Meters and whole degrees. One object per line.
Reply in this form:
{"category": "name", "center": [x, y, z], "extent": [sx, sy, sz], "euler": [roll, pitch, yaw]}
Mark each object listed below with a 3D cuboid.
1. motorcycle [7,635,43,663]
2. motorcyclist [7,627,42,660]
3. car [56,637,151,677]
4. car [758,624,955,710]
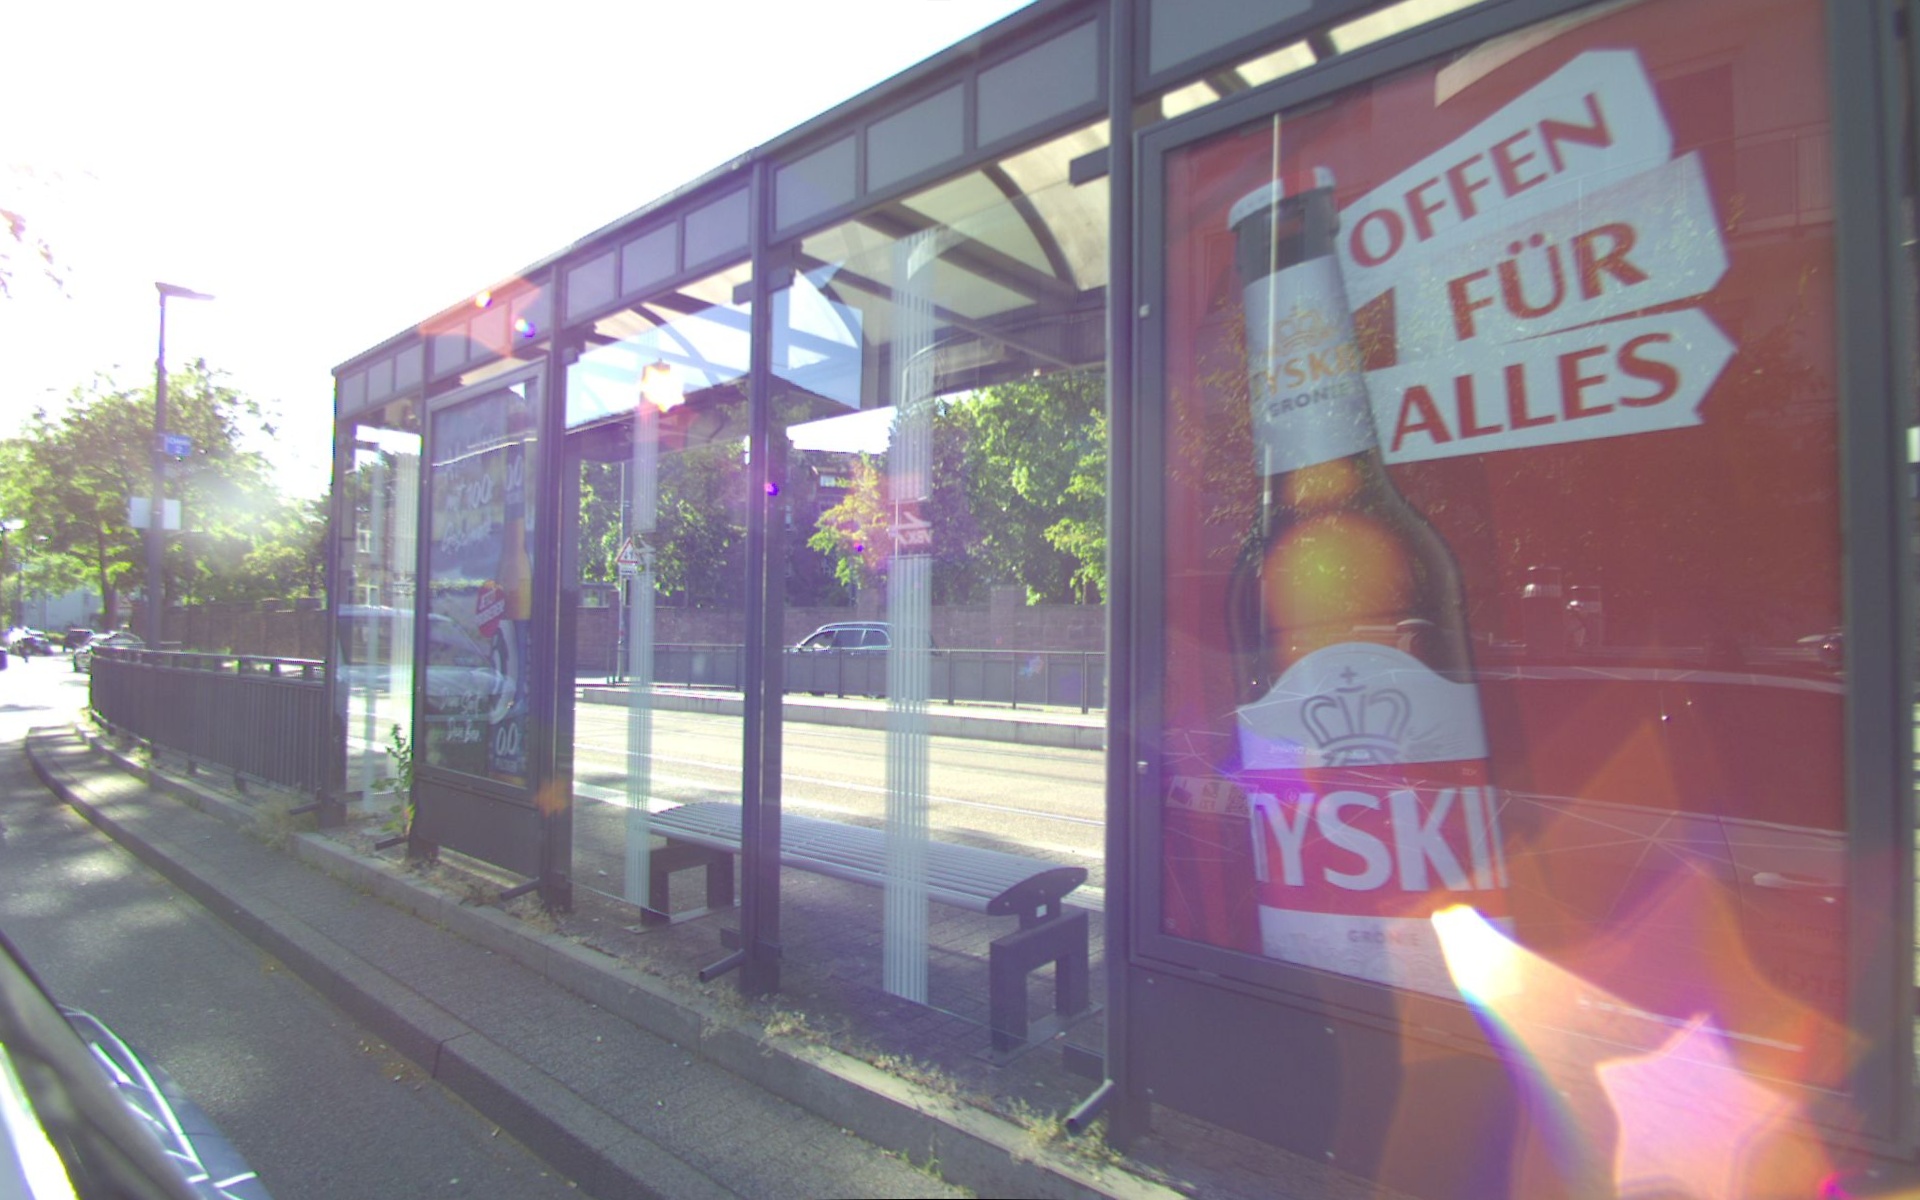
{"category": "motorcycle", "center": [-44.137, 2.282, 47.749], "extent": [2.574, 1.253, 1.117], "euler": [-1, -2, 45]}
{"category": "motorcyclist", "center": [-44.218, 2.038, 47.837], "extent": [1.056, 1.537, 1.112], "euler": [-1, -2, 44]}
{"category": "car", "center": [-32.038, 2.111, 37.833], "extent": [3.976, 1.414, 1.838], "euler": [-2, -4, 37]}
{"category": "car", "center": [-2.328, 1.385, 22.058], "extent": [4.358, 1.690, 1.885], "euler": [-2, -3, 43]}
